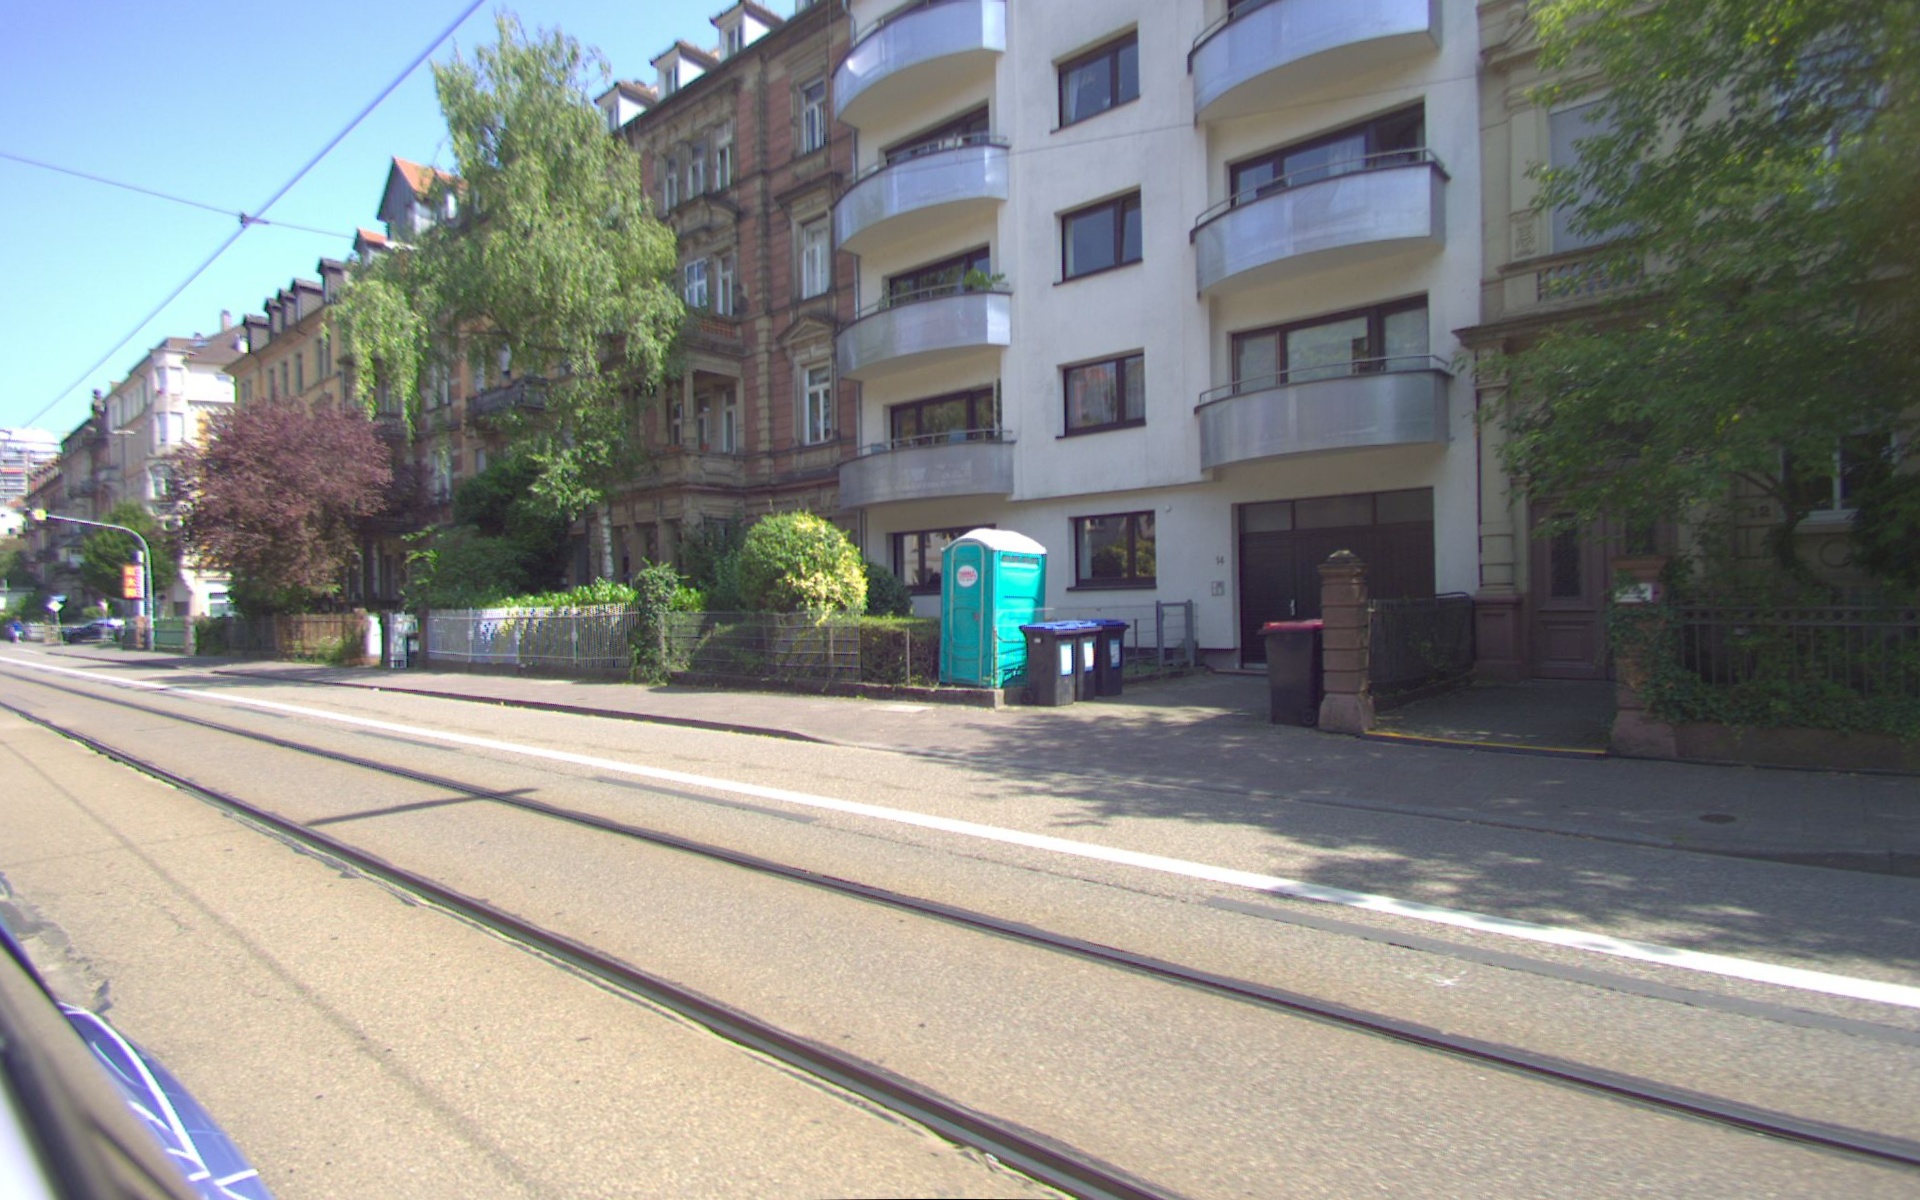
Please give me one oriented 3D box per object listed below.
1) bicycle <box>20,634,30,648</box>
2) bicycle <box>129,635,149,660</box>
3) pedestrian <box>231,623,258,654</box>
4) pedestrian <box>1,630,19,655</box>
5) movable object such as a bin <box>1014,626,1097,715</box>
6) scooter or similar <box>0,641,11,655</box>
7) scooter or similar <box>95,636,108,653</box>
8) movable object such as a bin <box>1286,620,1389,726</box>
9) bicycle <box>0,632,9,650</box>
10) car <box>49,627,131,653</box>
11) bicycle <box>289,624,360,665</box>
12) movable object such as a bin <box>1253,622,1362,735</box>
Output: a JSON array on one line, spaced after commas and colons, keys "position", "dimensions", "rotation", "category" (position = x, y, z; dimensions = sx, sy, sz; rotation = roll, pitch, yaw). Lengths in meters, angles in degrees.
[{"position": [-68.673, 3.003, 74.304], "dimensions": [1.833, 1.046, 0.386], "rotation": [-3, -1, 42], "category": "bicycle"}, {"position": [-37.700, 2.179, 46.451], "dimensions": [1.567, 1.107, 0.386], "rotation": [-2, -1, 39], "category": "bicycle"}, {"position": [-36.595, 1.962, 51.755], "dimensions": [0.883, 1.522, 0.860], "rotation": [-2, -1, 33], "category": "pedestrian"}, {"position": [-68.154, 3.029, 72.613], "dimensions": [0.870, 1.769, 0.874], "rotation": [-2, -1, 41], "category": "pedestrian"}, {"position": [1.268, 0.910, 13.364], "dimensions": [0.754, 1.084, 0.779], "rotation": [-2, 0, 40], "category": "movable object such as a bin"}, {"position": [-68.698, 3.443, 72.826], "dimensions": [0.583, 0.990, 0.397], "rotation": [-2, 0, 34], "category": "scooter or similar"}, {"position": [-55.262, 2.865, 65.139], "dimensions": [0.588, 1.107, 1.392], "rotation": [-1, -1, -38], "category": "scooter or similar"}, {"position": [4.196, 0.789, 11.254], "dimensions": [0.803, 1.084, 0.778], "rotation": [-2, 0, 44], "category": "movable object such as a bin"}, {"position": [-76.265, 3.289, 80.751], "dimensions": [1.581, 1.416, 0.386], "rotation": [-3, -1, 42], "category": "bicycle"}, {"position": [-59.550, 2.714, 69.279], "dimensions": [1.879, 1.606, 4.057], "rotation": [-2, 0, 43], "category": "car"}, {"position": [-20.362, 1.407, 32.444], "dimensions": [0.716, 1.191, 1.793], "rotation": [-2, 0, 43], "category": "bicycle"}, {"position": [3.645, 0.796, 10.610], "dimensions": [0.803, 1.084, 0.778], "rotation": [-2, 0, 44], "category": "movable object such as a bin"}]
